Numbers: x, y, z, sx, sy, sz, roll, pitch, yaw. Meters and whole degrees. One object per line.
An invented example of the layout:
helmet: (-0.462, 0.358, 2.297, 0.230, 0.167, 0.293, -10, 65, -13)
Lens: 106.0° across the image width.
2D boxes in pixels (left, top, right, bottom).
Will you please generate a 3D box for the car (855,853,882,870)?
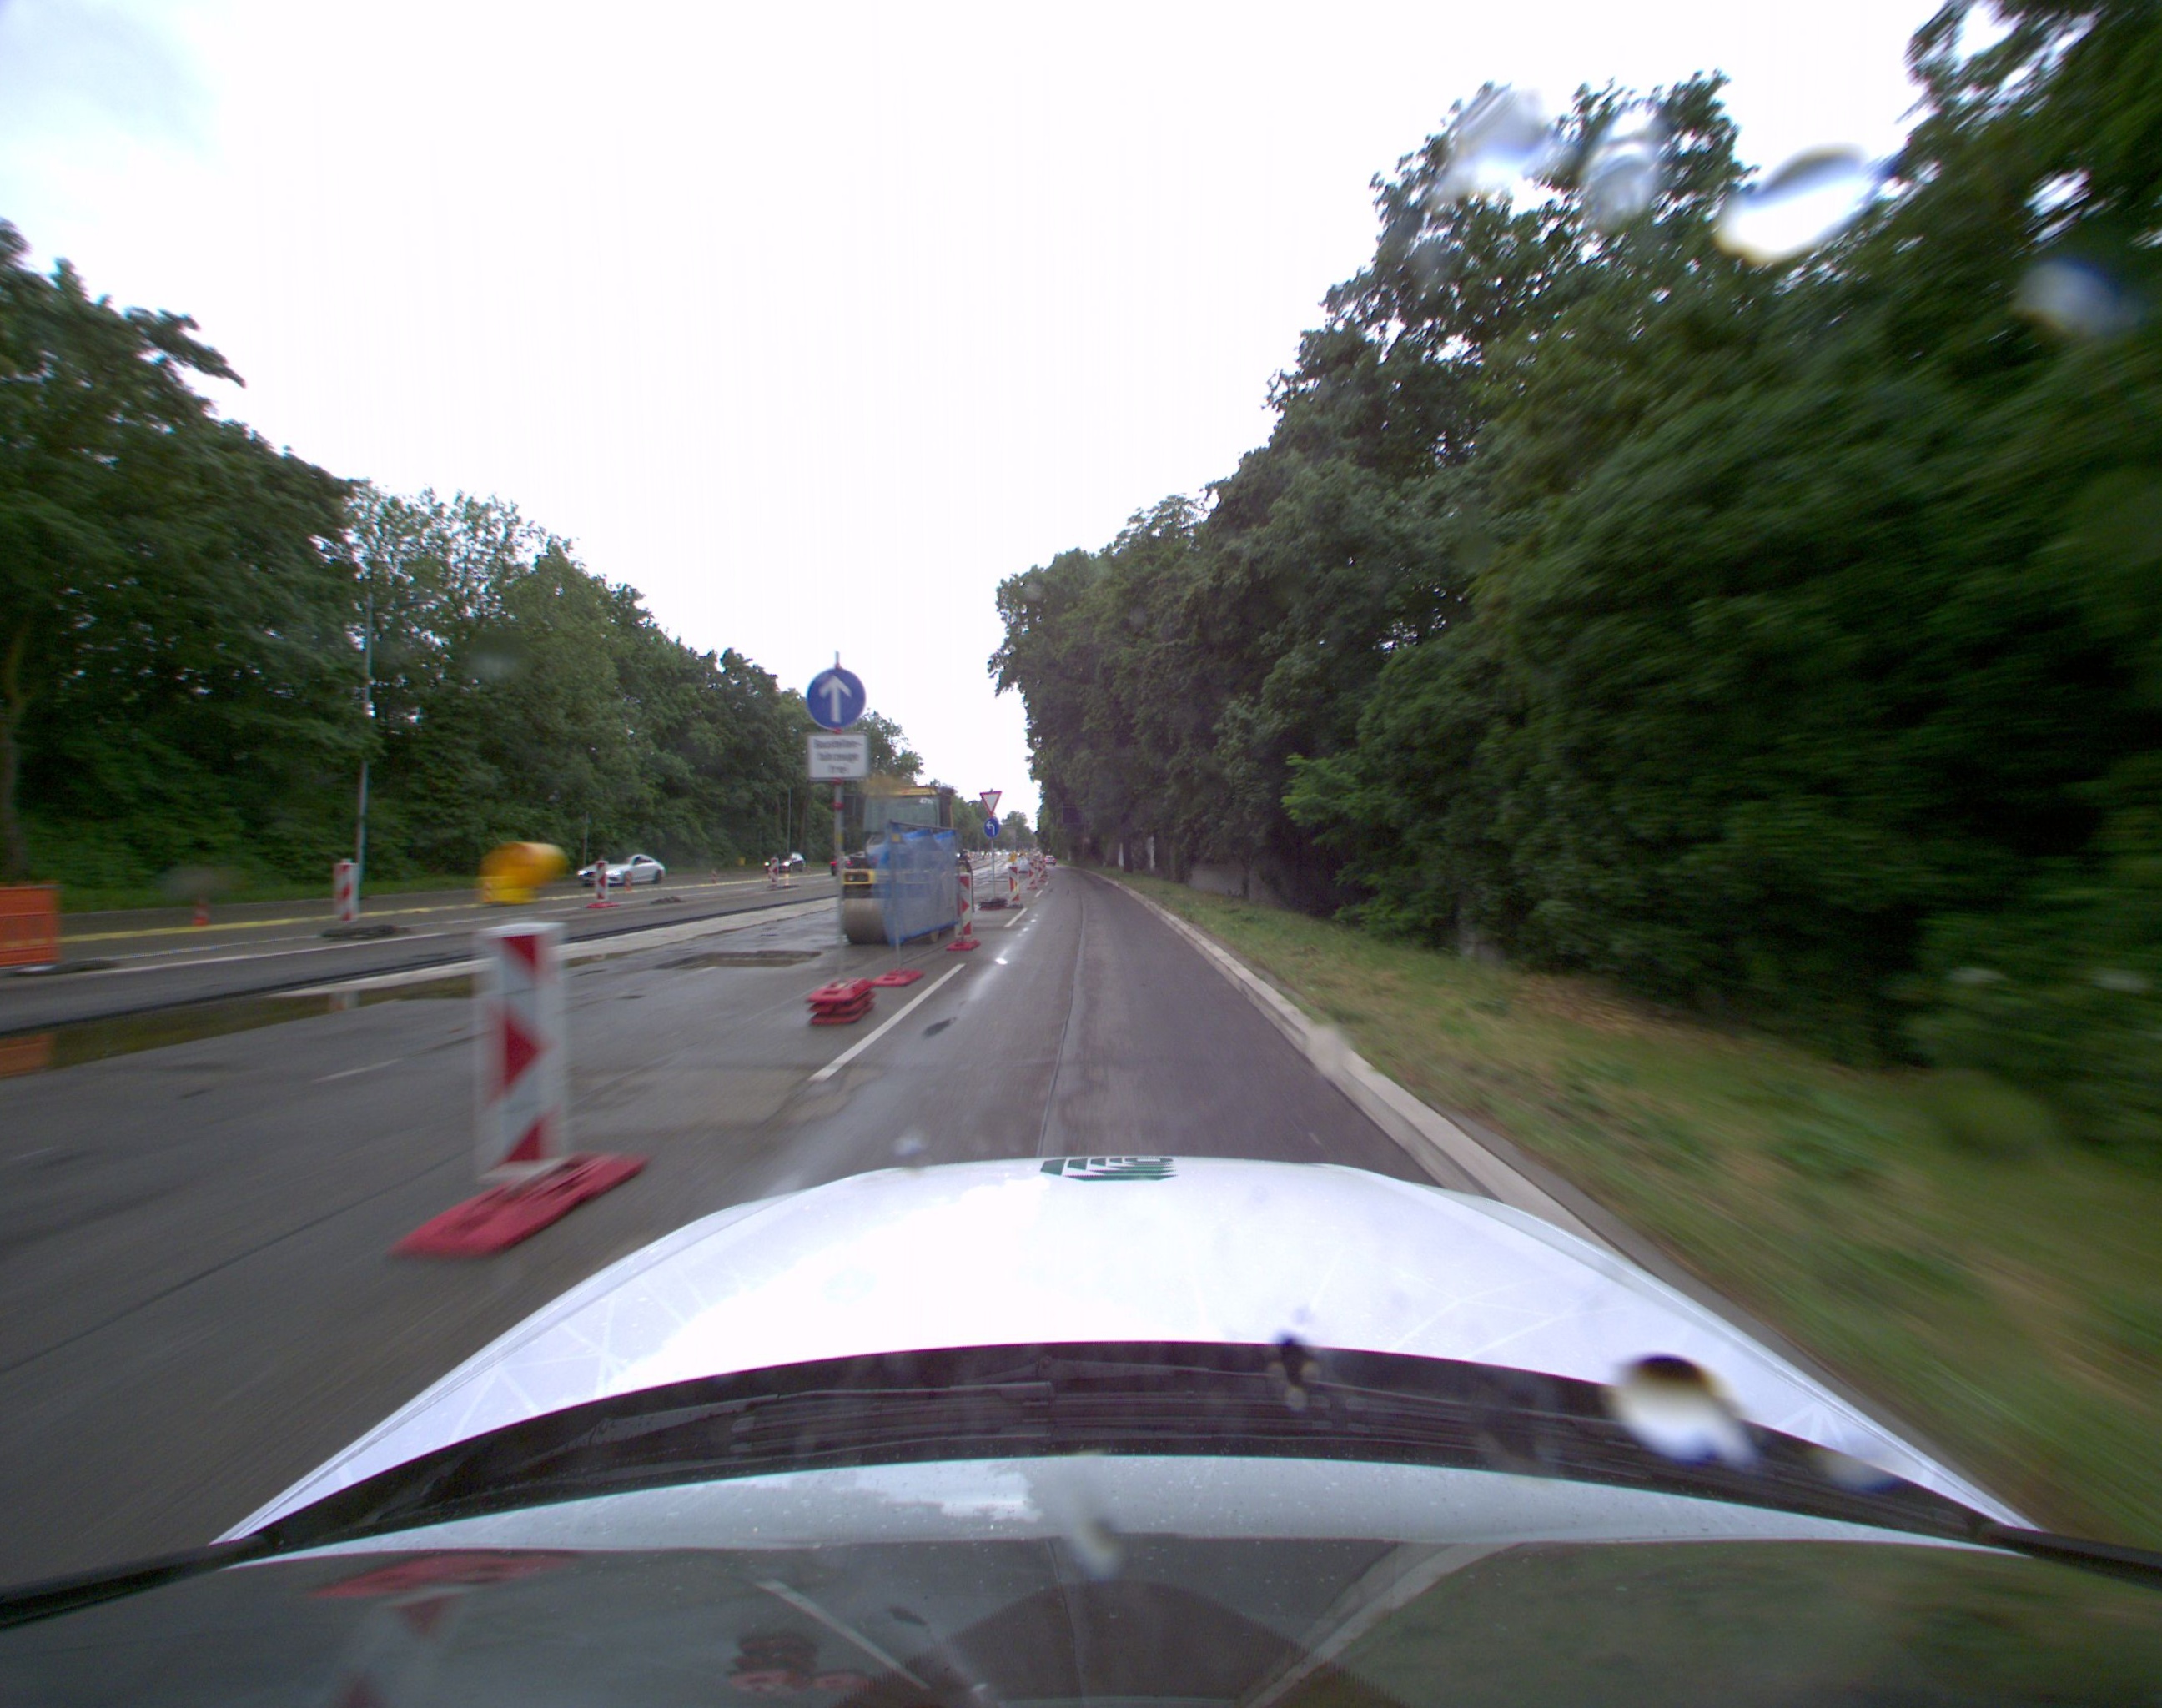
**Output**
car: (-22.574, 0.773, 86.615, 1.773, 1.663, 4.909, -1, 0, -4)

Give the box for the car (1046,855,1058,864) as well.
car: (-4.633, 0.850, 128.950, 1.695, 1.336, 3.484, -1, 0, -5)

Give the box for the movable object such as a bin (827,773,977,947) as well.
movable object such as a bin: (-3.402, 0.105, 16.578, 1.797, 2.985, 5.246, 0, 0, 1)

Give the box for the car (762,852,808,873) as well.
car: (-21.628, 0.595, 59.702, 1.779, 1.452, 4.678, 0, 0, -2)

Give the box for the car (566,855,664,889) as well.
car: (-20.718, 0.750, 36.444, 1.778, 1.426, 4.468, 0, 0, 0)

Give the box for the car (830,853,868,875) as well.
car: (-15.486, 0.633, 54.519, 1.604, 1.404, 4.035, 1, 0, -4)
